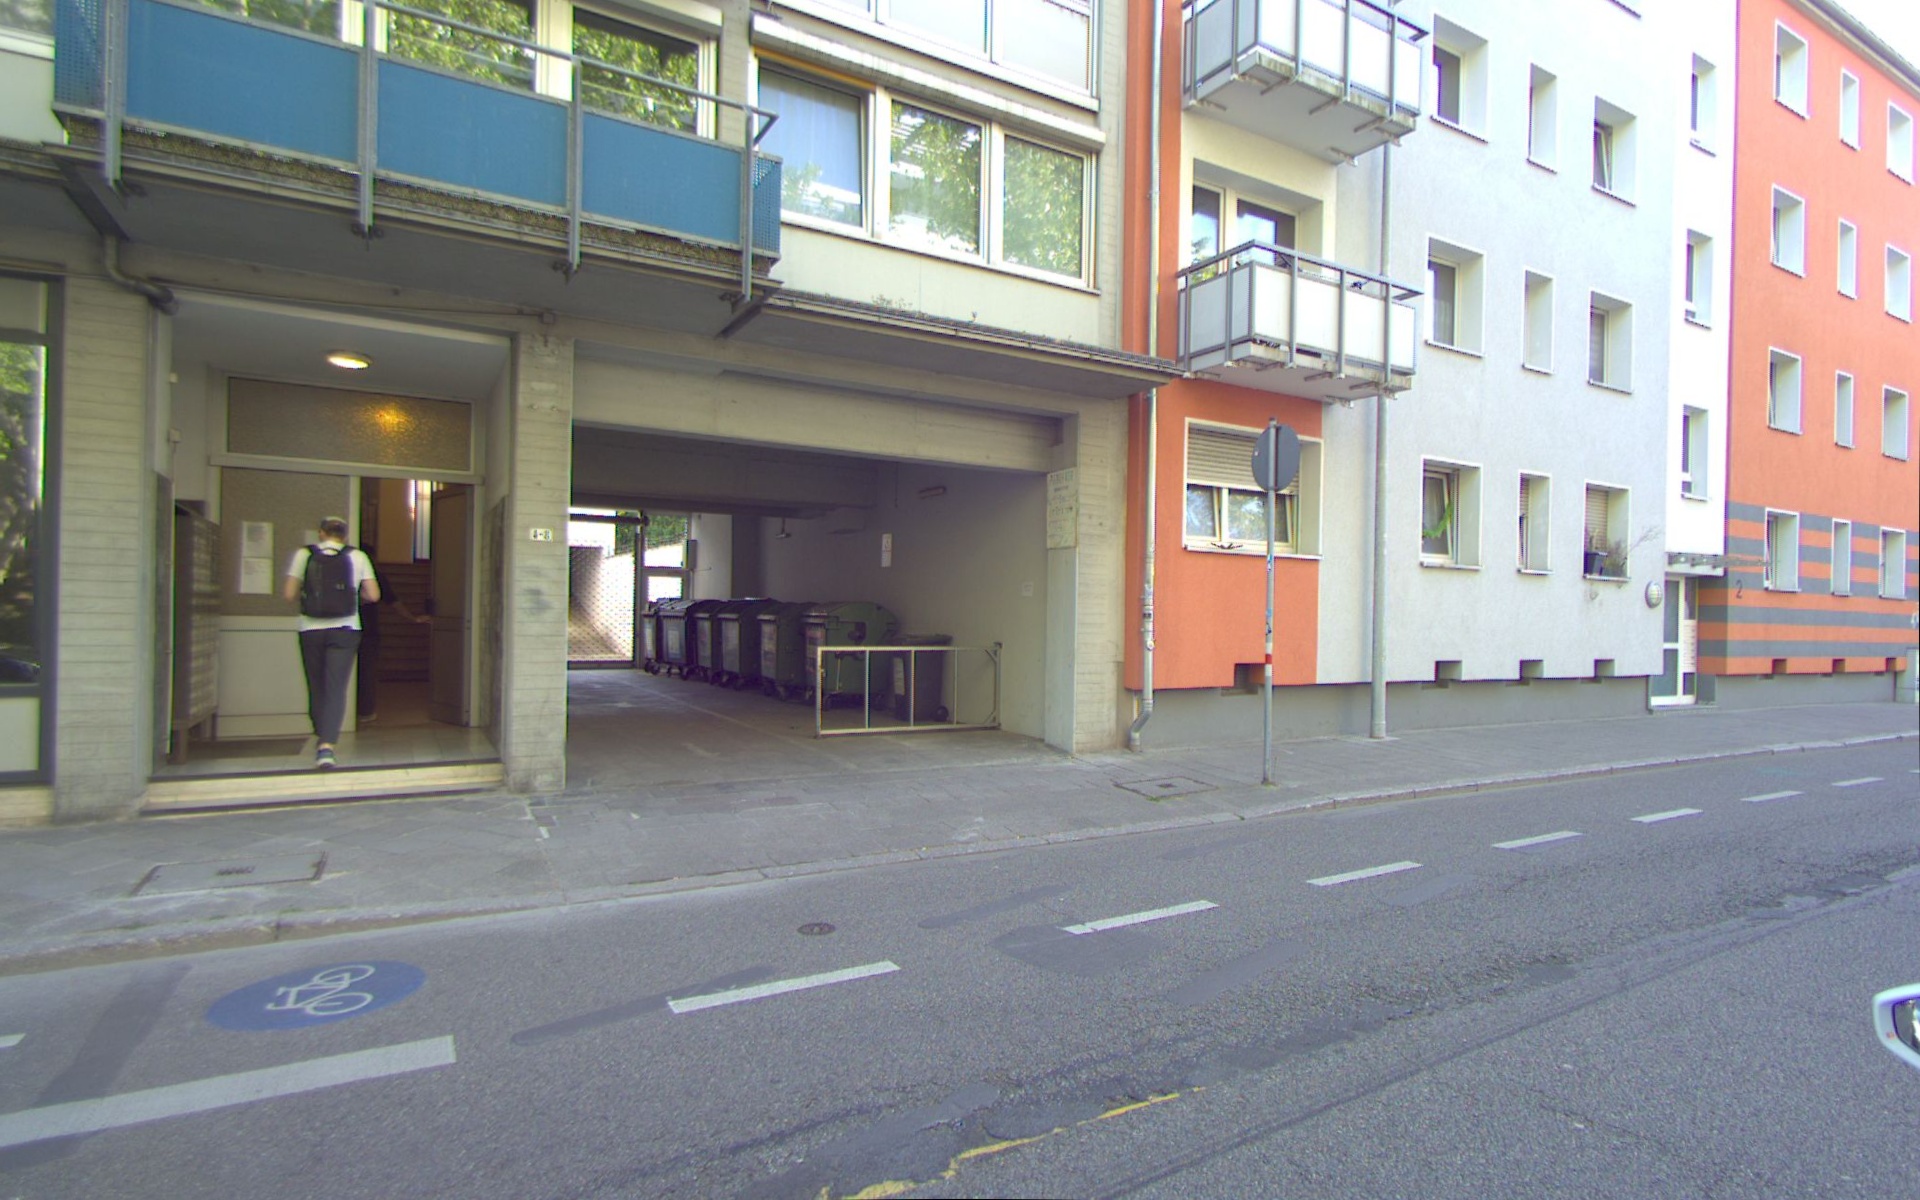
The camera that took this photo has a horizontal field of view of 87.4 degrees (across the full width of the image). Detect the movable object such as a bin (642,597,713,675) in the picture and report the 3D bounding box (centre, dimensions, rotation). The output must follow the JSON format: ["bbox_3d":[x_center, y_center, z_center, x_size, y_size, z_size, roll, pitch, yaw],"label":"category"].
[{"bbox_3d":[-5.590,0.698,19.890,1.167,1.503,0.819,1,0,-30],"label":"movable object such as a bin"}]

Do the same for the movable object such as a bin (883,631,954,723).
[{"bbox_3d":[-0.515,0.938,12.451,0.687,1.094,0.579,1,0,-30],"label":"movable object such as a bin"}]

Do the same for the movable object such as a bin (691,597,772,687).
[{"bbox_3d":[-4.021,0.717,17.623,1.080,1.503,1.159,1,0,-30],"label":"movable object such as a bin"}]

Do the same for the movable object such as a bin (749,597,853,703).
[{"bbox_3d":[-2.417,0.727,15.148,1.167,1.503,1.252,1,0,-30],"label":"movable object such as a bin"}]

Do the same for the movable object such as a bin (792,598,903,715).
[{"bbox_3d":[-1.552,0.736,13.740,1.086,1.503,1.251,1,0,-30],"label":"movable object such as a bin"}]

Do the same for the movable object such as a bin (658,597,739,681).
[{"bbox_3d":[-4.870,0.705,18.702,1.167,1.503,1.215,1,0,-30],"label":"movable object such as a bin"}]

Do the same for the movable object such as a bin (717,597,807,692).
[{"bbox_3d":[-3.291,0.720,16.647,1.167,1.503,1.073,1,0,-30],"label":"movable object such as a bin"}]

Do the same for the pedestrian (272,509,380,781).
[{"bbox_3d":[-4.542,0.297,7.237,0.594,1.824,0.872,1,1,-30],"label":"pedestrian"}]

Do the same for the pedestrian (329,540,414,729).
[{"bbox_3d":[-5.658,0.323,9.647,0.655,1.736,0.543,1,0,-33],"label":"pedestrian"}]
